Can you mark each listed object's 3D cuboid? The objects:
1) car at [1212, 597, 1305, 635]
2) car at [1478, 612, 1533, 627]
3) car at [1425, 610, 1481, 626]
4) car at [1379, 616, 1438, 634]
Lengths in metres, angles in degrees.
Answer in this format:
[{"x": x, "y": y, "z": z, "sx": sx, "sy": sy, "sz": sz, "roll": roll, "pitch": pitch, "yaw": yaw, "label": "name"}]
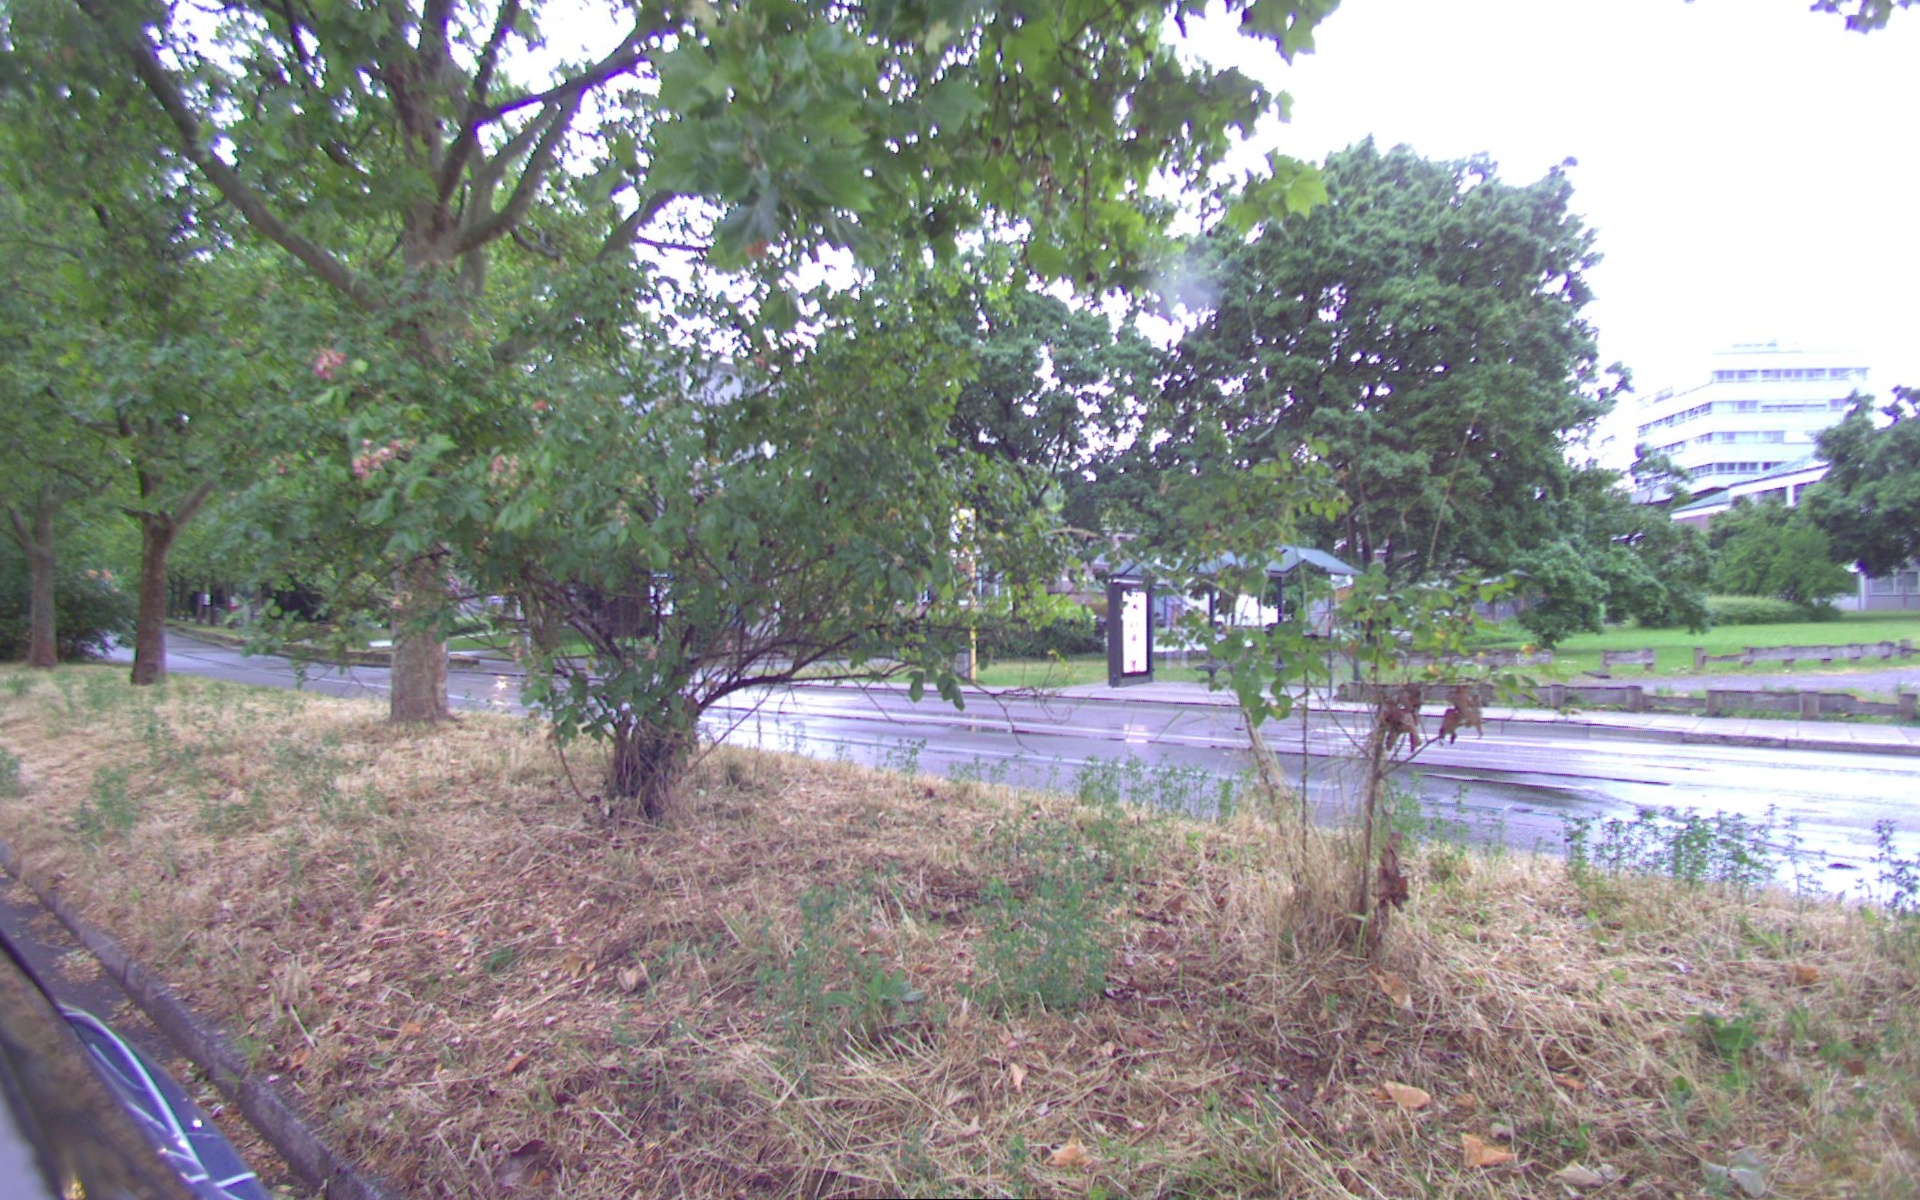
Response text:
[{"x": 18.527, "y": 0.923, "z": 62.995, "sx": 2.080, "sy": 2.229, "sz": 5.482, "roll": -1, "pitch": 1, "yaw": -33, "label": "car"}, {"x": 43.950, "y": 1.560, "z": 81.604, "sx": 1.566, "sy": 1.151, "sz": 3.564, "roll": -1, "pitch": 1, "yaw": -37, "label": "car"}, {"x": 37.715, "y": 1.381, "z": 77.481, "sx": 1.566, "sy": 1.151, "sz": 3.564, "roll": -1, "pitch": 1, "yaw": -37, "label": "car"}, {"x": 32.241, "y": 1.803, "z": 72.764, "sx": 1.566, "sy": 1.151, "sz": 3.564, "roll": -1, "pitch": 1, "yaw": -37, "label": "car"}]
